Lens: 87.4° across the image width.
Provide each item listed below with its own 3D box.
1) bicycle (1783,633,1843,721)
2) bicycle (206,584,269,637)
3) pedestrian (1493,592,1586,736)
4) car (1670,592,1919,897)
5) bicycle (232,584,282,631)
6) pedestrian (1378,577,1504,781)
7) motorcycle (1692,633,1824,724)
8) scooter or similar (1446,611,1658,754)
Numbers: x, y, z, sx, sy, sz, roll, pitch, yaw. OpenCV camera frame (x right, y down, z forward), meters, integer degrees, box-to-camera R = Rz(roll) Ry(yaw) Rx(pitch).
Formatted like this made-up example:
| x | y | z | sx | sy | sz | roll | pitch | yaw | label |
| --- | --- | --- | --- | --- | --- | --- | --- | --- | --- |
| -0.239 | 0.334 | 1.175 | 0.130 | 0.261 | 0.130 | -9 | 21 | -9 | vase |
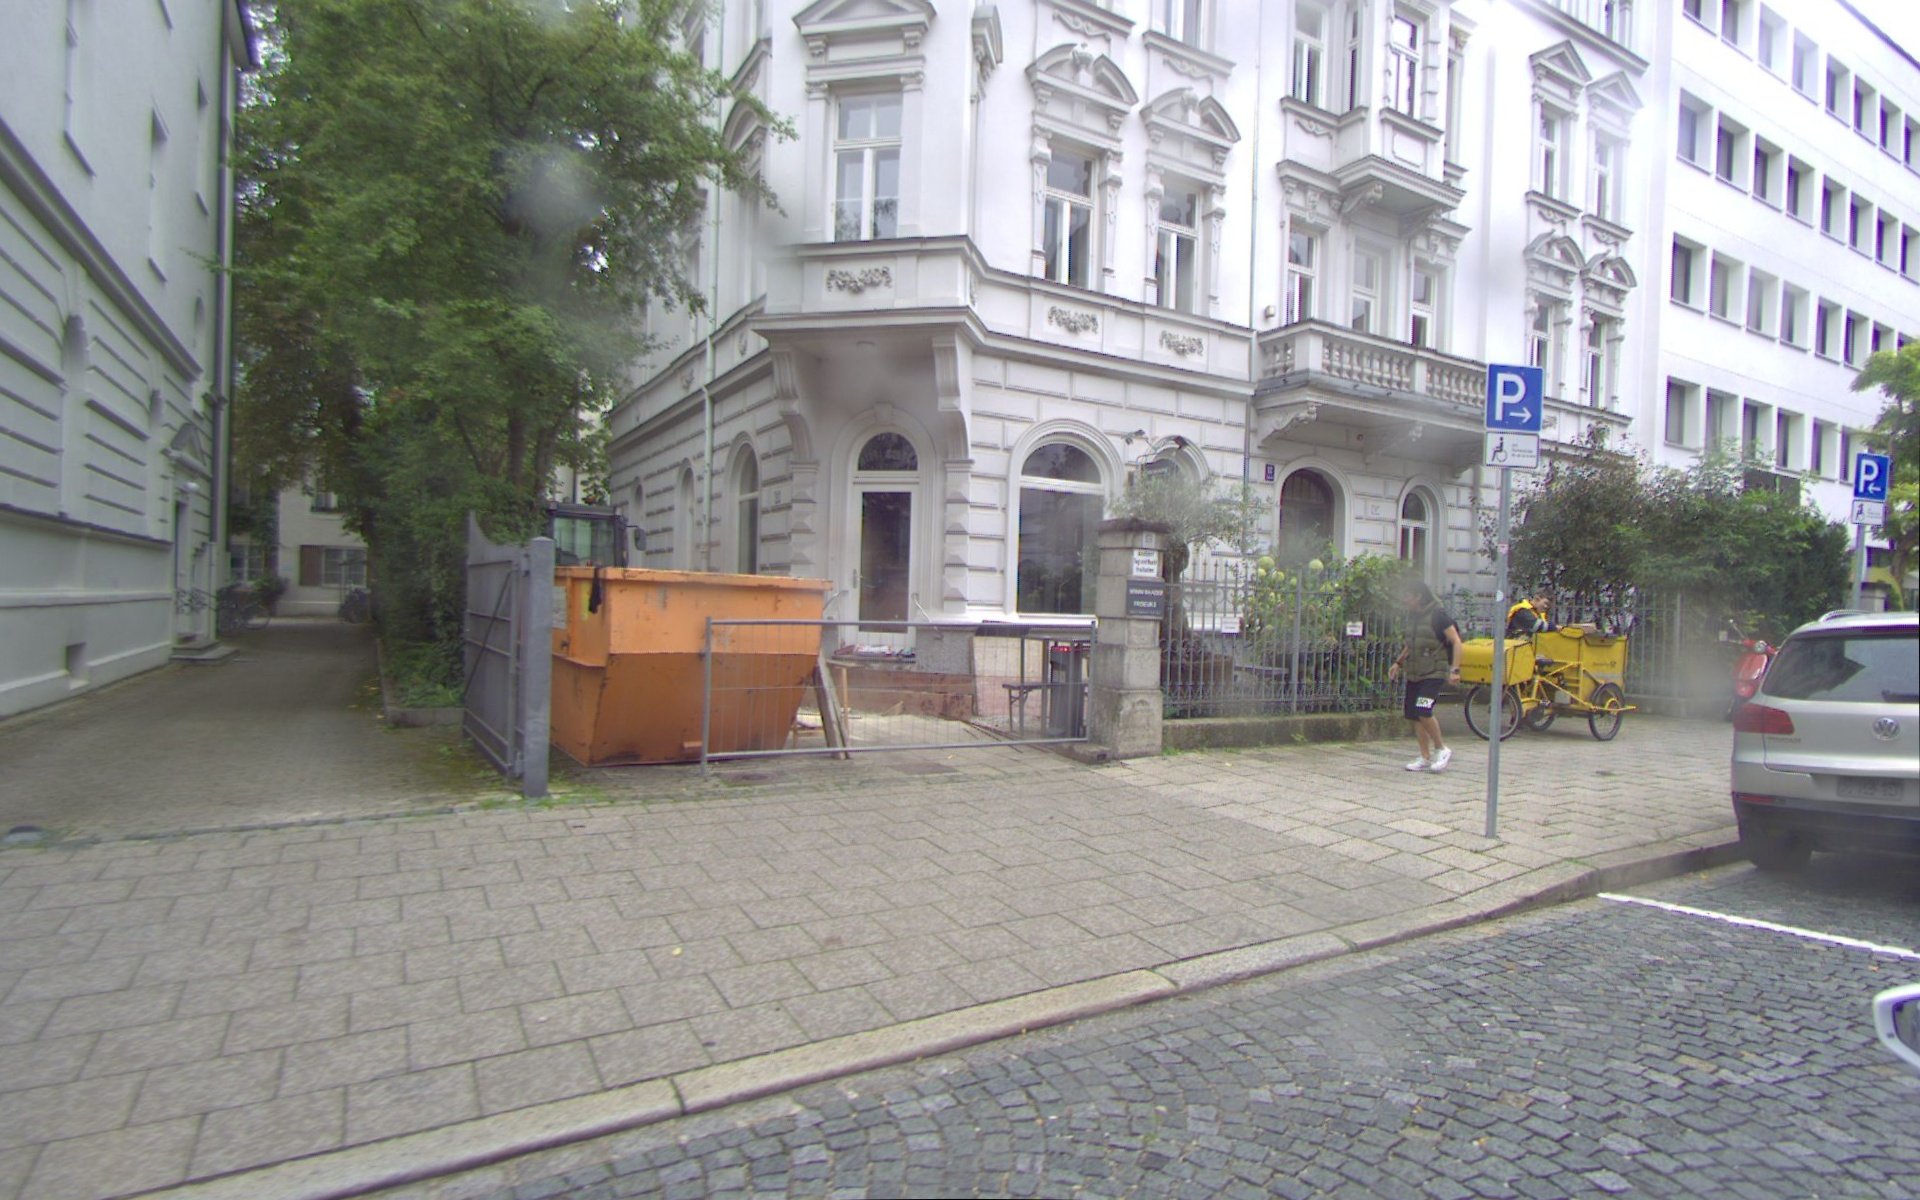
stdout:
| x | y | z | sx | sy | sz | roll | pitch | yaw | label |
| --- | --- | --- | --- | --- | --- | --- | --- | --- | --- |
| 13.150 | 1.142 | 15.494 | 0.648 | 1.237 | 2.079 | 2 | 0 | 40 | bicycle |
| -17.599 | 0.230 | 24.537 | 0.926 | 1.221 | 2.926 | 1 | 0 | -30 | bicycle |
| 7.137 | 0.764 | 12.388 | 0.687 | 1.710 | 0.714 | 1 | 0 | -31 | pedestrian |
| 6.692 | 0.812 | 6.610 | 4.209 | 1.600 | 1.863 | 1 | -3 | -33 | car |
| -19.275 | 0.199 | 27.517 | 0.929 | 1.221 | 2.464 | 1 | 0 | -40 | bicycle |
| 4.240 | 0.663 | 8.862 | 0.711 | 1.710 | 0.689 | 1 | 0 | -31 | pedestrian |
| 11.369 | 1.103 | 14.302 | 1.838 | 1.212 | 0.621 | 2 | 1 | -22 | motorcycle |
| 6.827 | 0.893 | 11.539 | 2.626 | 1.461 | 0.936 | 1 | 0 | -31 | scooter or similar |
